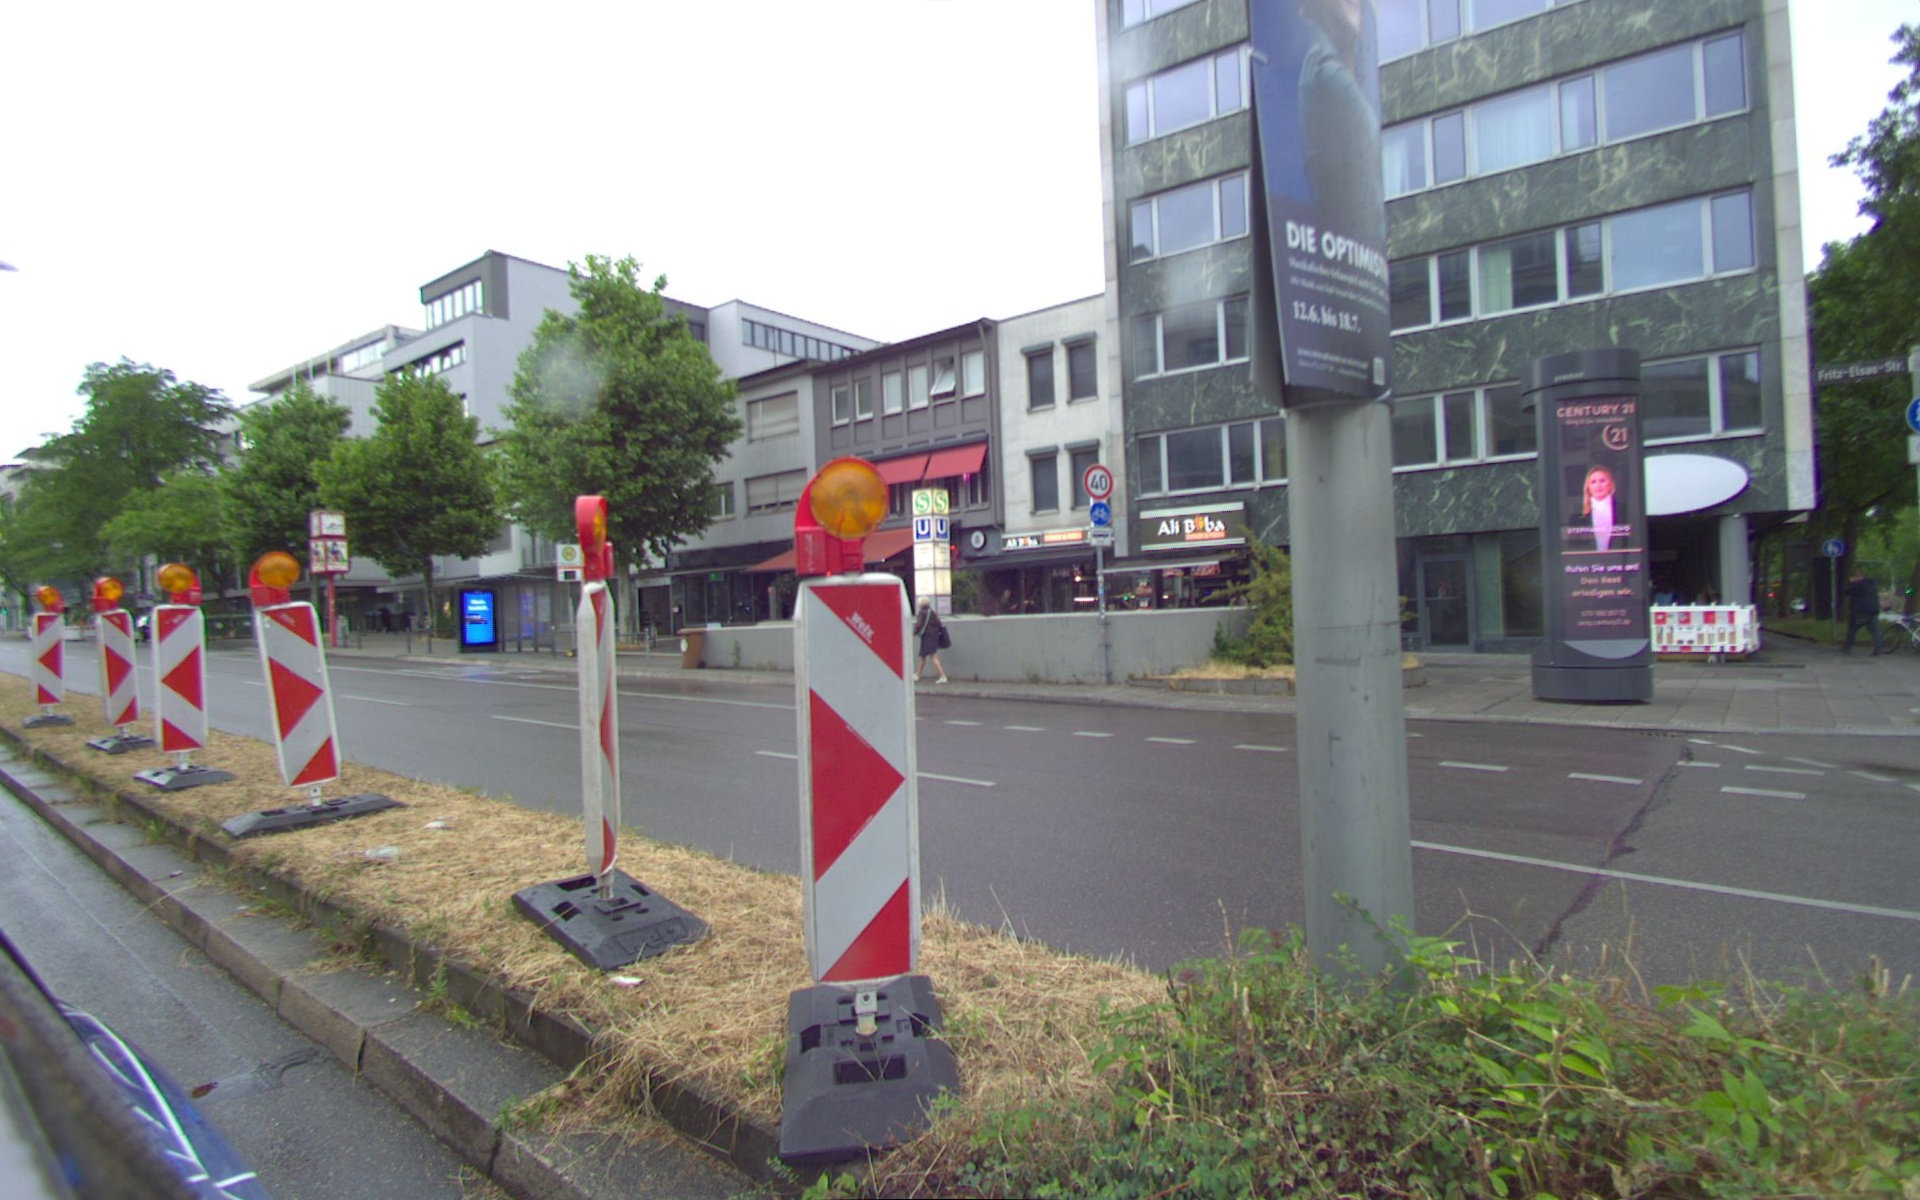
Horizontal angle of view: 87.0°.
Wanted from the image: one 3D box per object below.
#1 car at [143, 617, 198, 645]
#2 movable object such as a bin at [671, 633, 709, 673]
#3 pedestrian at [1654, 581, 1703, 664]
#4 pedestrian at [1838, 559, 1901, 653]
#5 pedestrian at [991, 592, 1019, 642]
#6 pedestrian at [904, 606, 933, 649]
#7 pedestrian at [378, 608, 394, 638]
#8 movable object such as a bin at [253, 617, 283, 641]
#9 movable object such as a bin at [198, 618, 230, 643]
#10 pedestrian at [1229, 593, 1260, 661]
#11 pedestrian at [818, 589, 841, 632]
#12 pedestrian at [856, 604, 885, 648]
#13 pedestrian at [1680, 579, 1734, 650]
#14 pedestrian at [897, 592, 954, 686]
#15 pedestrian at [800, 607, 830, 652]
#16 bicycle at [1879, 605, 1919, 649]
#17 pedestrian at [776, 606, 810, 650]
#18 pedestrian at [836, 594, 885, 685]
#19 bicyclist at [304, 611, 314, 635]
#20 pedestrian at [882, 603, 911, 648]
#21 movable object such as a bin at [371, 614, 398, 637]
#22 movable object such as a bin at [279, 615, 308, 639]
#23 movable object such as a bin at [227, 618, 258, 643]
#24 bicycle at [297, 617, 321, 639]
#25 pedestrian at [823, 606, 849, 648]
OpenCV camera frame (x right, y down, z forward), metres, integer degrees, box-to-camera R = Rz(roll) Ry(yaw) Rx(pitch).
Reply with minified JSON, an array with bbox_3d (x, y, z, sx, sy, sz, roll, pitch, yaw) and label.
[{"bbox_3d":[-47.997,1.885,61.504,4.018,1.648,1.761,-2,-1,38],"label":"car"},{"bbox_3d":[-6.277,1.231,23.545,0.680,0.904,0.527,-1,-2,32],"label":"movable object such as a bin"},{"bbox_3d":[16.804,0.543,23.675,0.875,1.868,1.012,-2,-5,37],"label":"pedestrian"},{"bbox_3d":[19.178,0.151,21.364,0.897,1.900,0.776,-2,-5,41],"label":"pedestrian"},{"bbox_3d":[1.332,0.500,30.157,0.587,1.461,0.597,-2,-1,36],"label":"pedestrian"},{"bbox_3d":[-1.356,0.883,32.876,0.690,1.354,0.627,-2,-1,34],"label":"pedestrian"},{"bbox_3d":[-34.188,1.346,60.268,0.653,1.776,0.688,-1,-1,43],"label":"pedestrian"},{"bbox_3d":[-42.488,1.752,62.148,1.088,1.437,1.265,-2,-1,41],"label":"movable object such as a bin"},{"bbox_3d":[-44.238,1.827,60.013,1.088,1.437,1.345,-2,-1,41],"label":"movable object such as a bin"},{"bbox_3d":[8.115,0.756,28.848,0.590,1.899,0.749,-2,-1,34],"label":"pedestrian"},{"bbox_3d":[-4.821,0.387,37.369,0.603,1.582,0.591,-1,-1,31],"label":"pedestrian"},{"bbox_3d":[-3.035,0.868,34.355,0.690,1.461,0.720,-2,-1,34],"label":"pedestrian"},{"bbox_3d":[17.582,0.358,23.820,0.922,1.597,0.822,-2,-5,41],"label":"pedestrian"},{"bbox_3d":[-0.633,0.696,18.427,0.757,1.665,0.683,-2,-1,37],"label":"pedestrian"},{"bbox_3d":[-4.814,0.984,33.577,0.706,1.461,0.683,-2,-1,37],"label":"pedestrian"},{"bbox_3d":[20.857,0.580,21.630,0.467,0.941,1.805,-1,-1,-15],"label":"bicycle"},{"bbox_3d":[-5.645,0.953,34.195,0.912,1.461,0.683,-2,-1,37],"label":"pedestrian"},{"bbox_3d":[-2.130,0.827,21.689,0.757,1.899,0.683,-2,-1,37],"label":"pedestrian"},{"bbox_3d":[-38.506,1.351,59.869,0.418,1.412,0.408,0,-1,-44],"label":"bicyclist"},{"bbox_3d":[-2.101,0.844,33.328,0.690,1.461,0.627,-2,-1,34],"label":"pedestrian"},{"bbox_3d":[-37.947,1.691,66.750,1.278,1.446,1.077,-1,-1,32],"label":"movable object such as a bin"},{"bbox_3d":[-41.597,1.678,63.202,1.088,1.499,1.265,-2,-1,41],"label":"movable object such as a bin"},{"bbox_3d":[-43.325,1.834,61.105,1.088,1.437,1.265,-2,-1,41],"label":"movable object such as a bin"},{"bbox_3d":[-38.491,1.656,59.877,1.132,1.233,0.405,0,-1,-43],"label":"bicycle"},{"bbox_3d":[-4.343,0.934,35.420,0.546,1.461,0.683,-2,-1,37],"label":"pedestrian"}]
